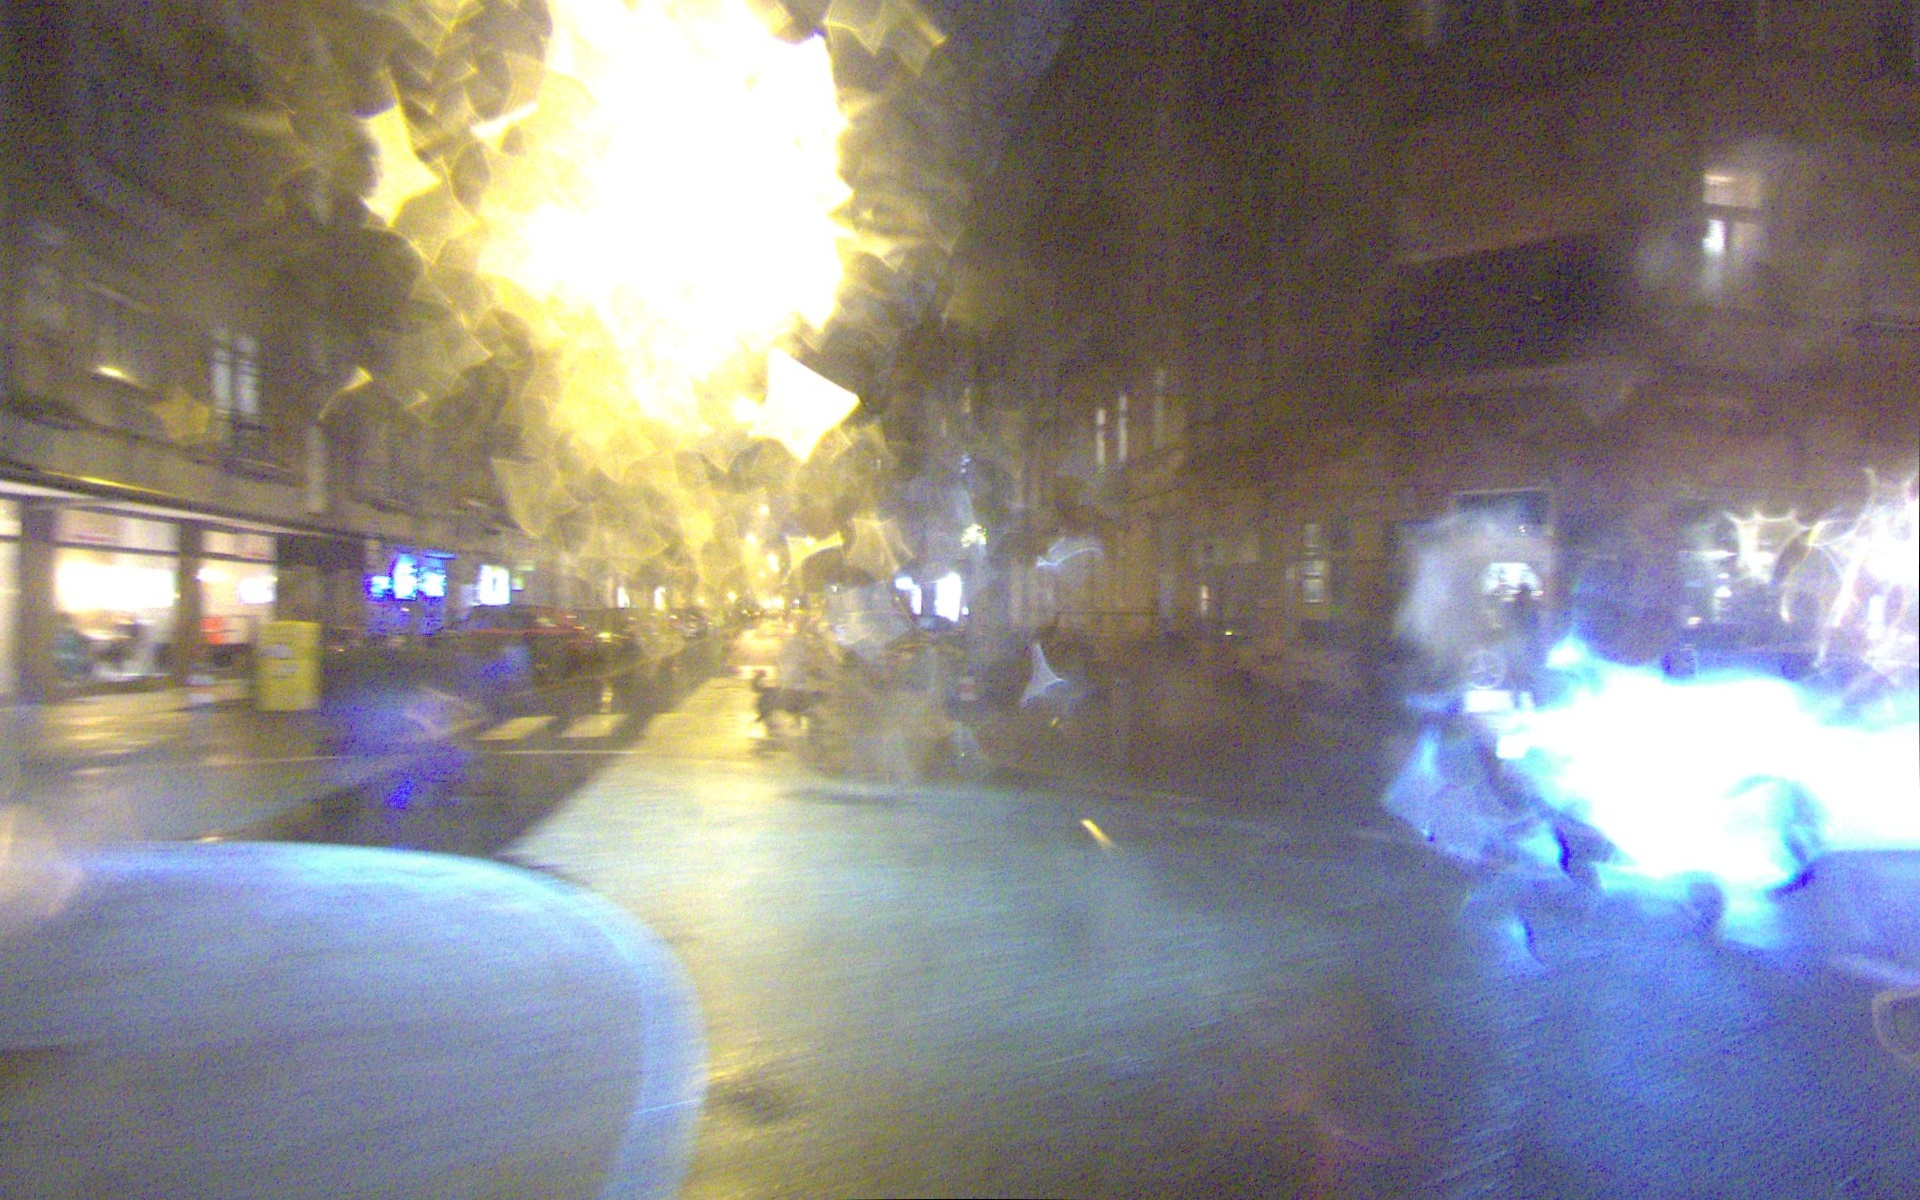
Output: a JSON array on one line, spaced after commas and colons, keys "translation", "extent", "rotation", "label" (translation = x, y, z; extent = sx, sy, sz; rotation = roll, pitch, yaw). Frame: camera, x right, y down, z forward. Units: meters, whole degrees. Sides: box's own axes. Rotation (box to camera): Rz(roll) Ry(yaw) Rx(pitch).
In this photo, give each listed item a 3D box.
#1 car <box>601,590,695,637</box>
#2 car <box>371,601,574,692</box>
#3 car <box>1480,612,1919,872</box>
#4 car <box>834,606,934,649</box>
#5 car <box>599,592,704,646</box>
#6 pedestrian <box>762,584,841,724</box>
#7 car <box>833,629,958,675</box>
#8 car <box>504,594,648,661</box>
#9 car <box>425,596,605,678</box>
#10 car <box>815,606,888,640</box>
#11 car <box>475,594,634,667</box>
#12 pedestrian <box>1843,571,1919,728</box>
[{"translation": [-13.950, 0.576, 45.130], "extent": [3.934, 2.041, 1.993], "rotation": [0, 1, -16], "label": "car"}, {"translation": [-11.614, 1.087, 24.176], "extent": [3.925, 2.041, 1.998], "rotation": [0, 1, -7], "label": "car"}, {"translation": [5.811, 0.818, 6.640], "extent": [3.992, 1.446, 1.567], "rotation": [0, -2, -5], "label": "car"}, {"translation": [-2.686, 0.958, 35.259], "extent": [3.398, 1.422, 1.589], "rotation": [0, -2, -8], "label": "car"}, {"translation": [-12.297, 0.712, 40.237], "extent": [3.934, 2.041, 1.993], "rotation": [0, 1, -16], "label": "car"}, {"translation": [-2.183, 0.743, 13.916], "extent": [0.927, 1.882, 0.799], "rotation": [-1, -2, 2], "label": "pedestrian"}, {"translation": [-1.968, 1.540, 30.274], "extent": [3.652, 1.292, 1.589], "rotation": [0, -2, -8], "label": "car"}, {"translation": [-12.189, 0.846, 32.109], "extent": [3.925, 2.041, 1.998], "rotation": [0, 1, -7], "label": "car"}, {"translation": [-11.665, 0.938, 26.586], "extent": [3.925, 2.041, 1.998], "rotation": [0, 1, -7], "label": "car"}, {"translation": [-5.485, 1.154, 50.596], "extent": [3.605, 1.649, 1.589], "rotation": [0, -2, -8], "label": "car"}, {"translation": [-11.825, 0.876, 29.558], "extent": [3.925, 2.041, 1.998], "rotation": [0, 1, -7], "label": "car"}, {"translation": [11.304, 0.567, 11.867], "extent": [0.996, 1.790, 0.806], "rotation": [0, 1, -5], "label": "pedestrian"}]
